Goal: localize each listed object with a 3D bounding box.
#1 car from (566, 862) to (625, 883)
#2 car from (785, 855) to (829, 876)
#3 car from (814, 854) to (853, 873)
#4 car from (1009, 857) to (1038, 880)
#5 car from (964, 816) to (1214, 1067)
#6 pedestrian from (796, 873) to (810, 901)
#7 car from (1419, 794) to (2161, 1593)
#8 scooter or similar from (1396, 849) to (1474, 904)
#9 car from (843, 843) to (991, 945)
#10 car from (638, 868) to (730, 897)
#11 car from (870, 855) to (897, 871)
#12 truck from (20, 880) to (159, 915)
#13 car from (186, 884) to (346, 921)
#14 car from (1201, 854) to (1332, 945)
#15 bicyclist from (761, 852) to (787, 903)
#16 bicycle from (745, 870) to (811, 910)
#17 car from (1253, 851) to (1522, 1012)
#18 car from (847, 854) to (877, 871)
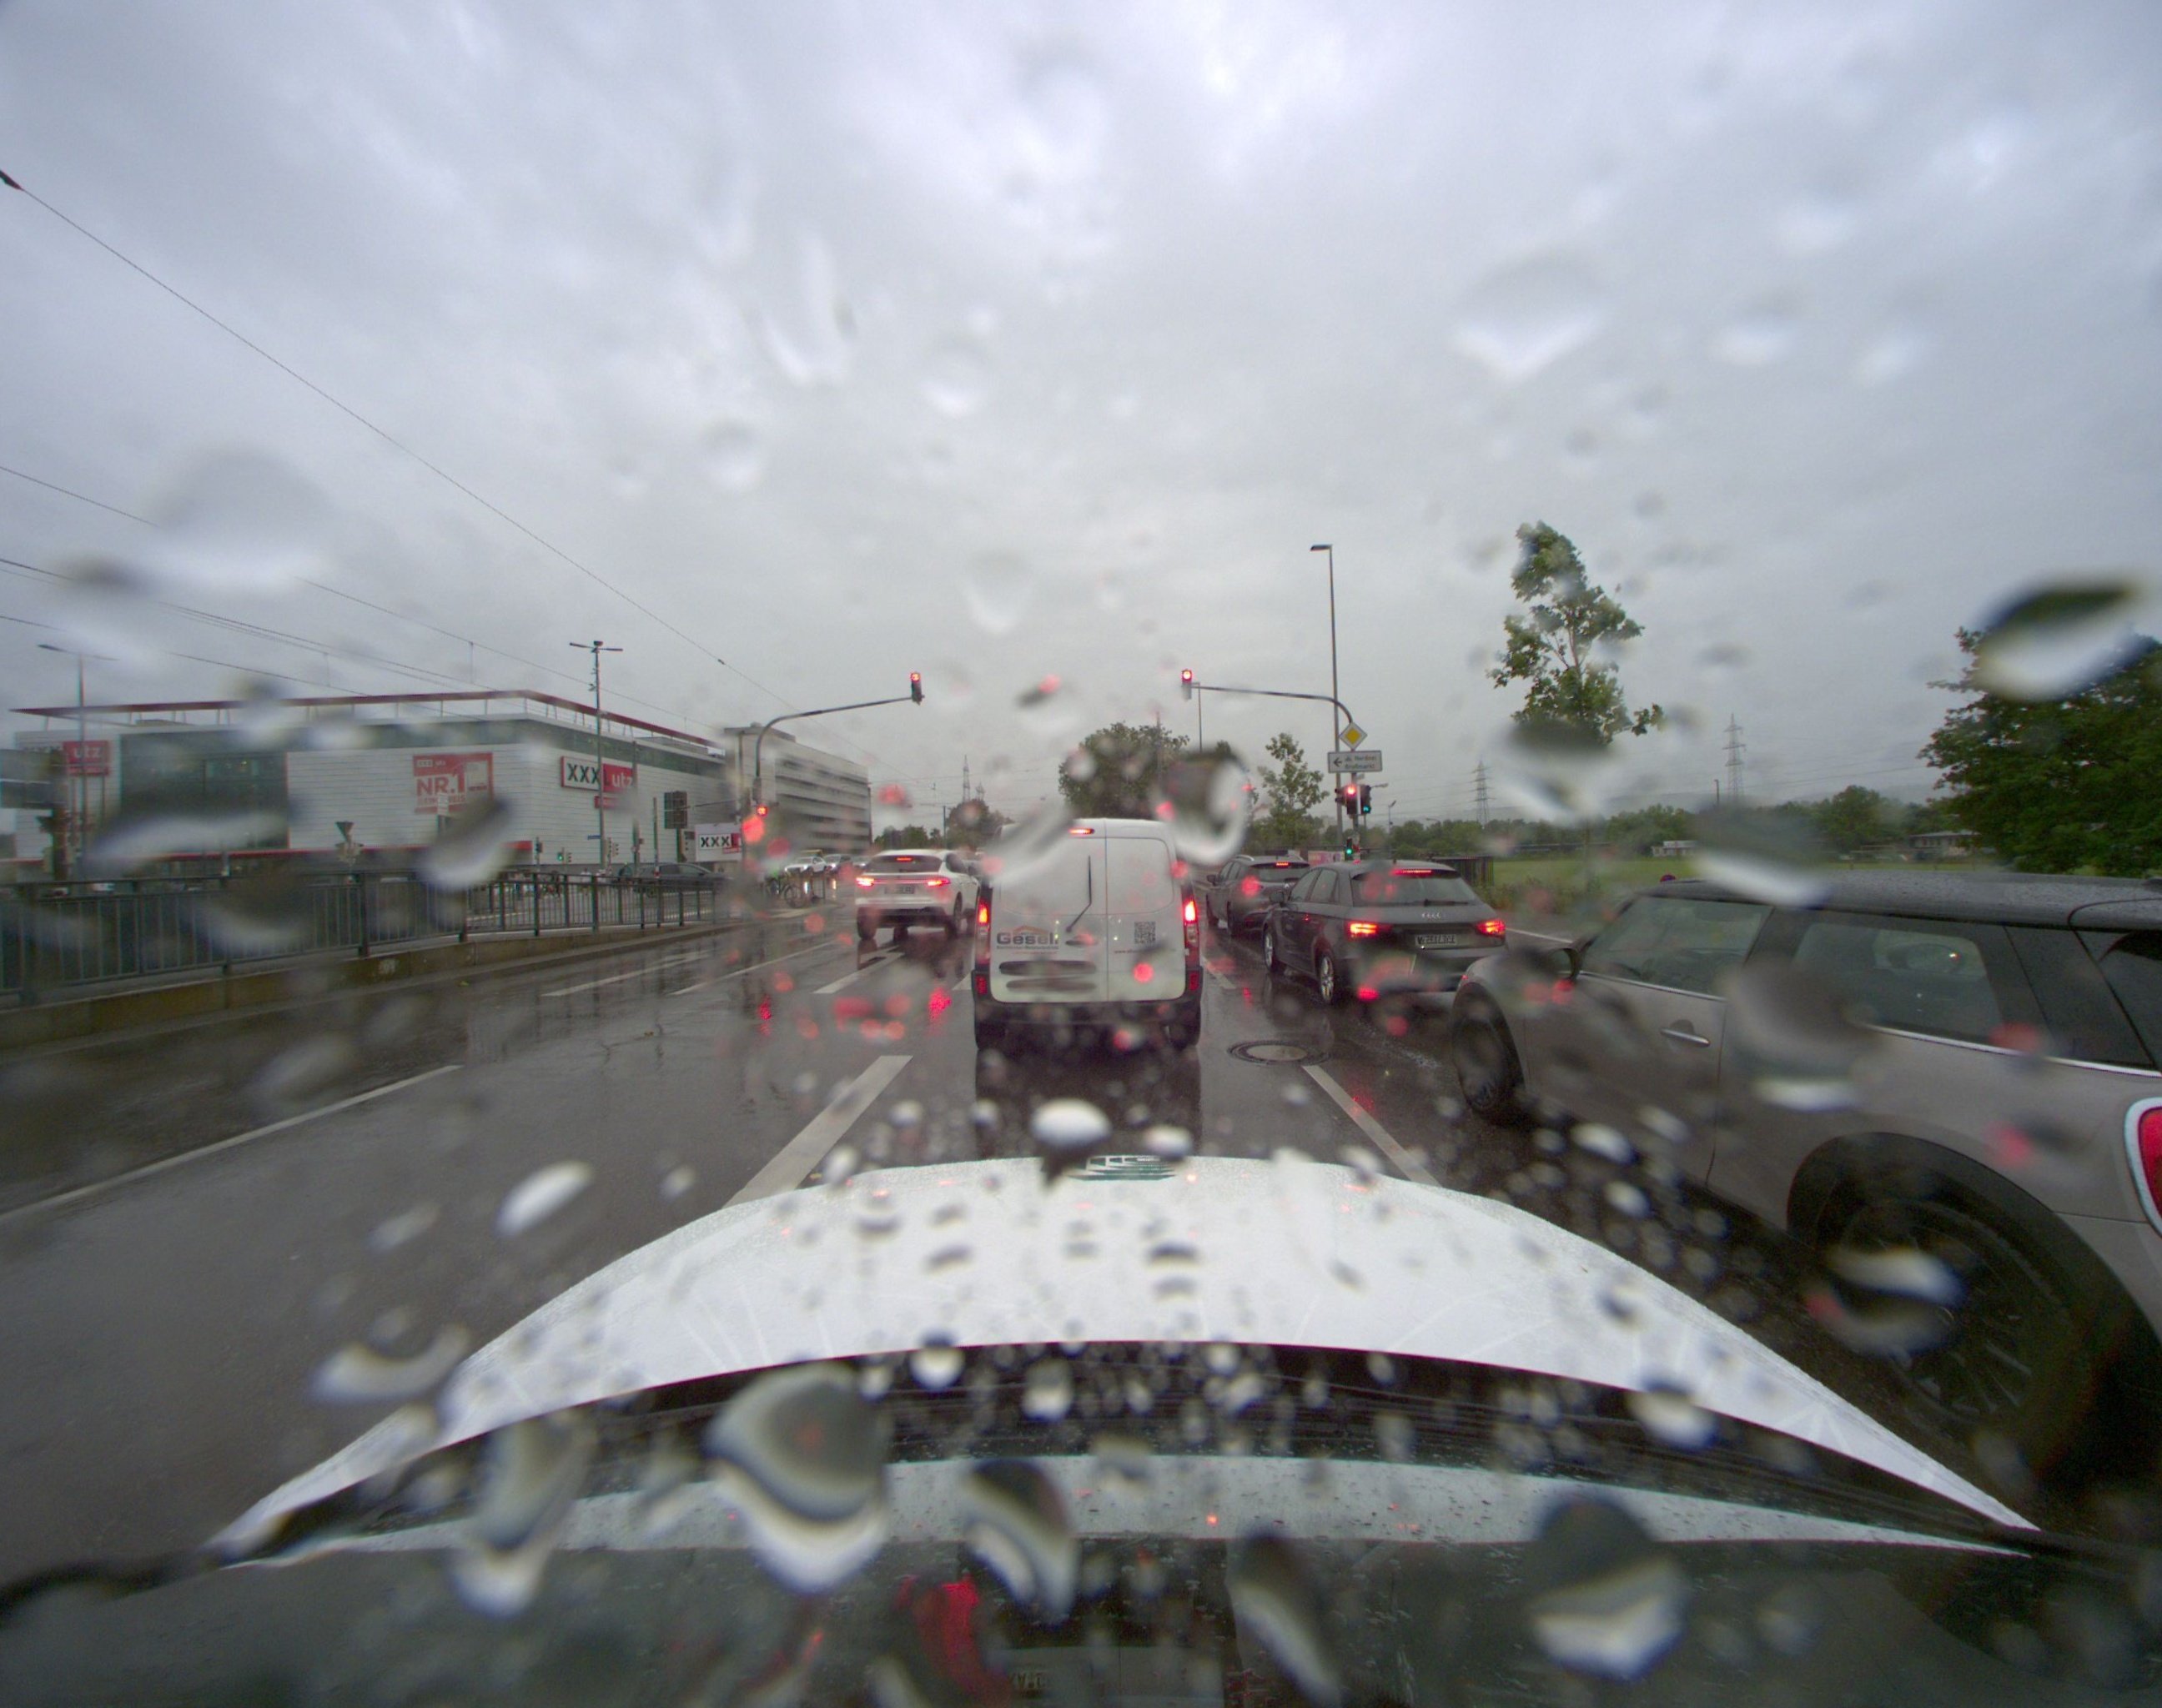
[{"bbox_3d":[-32.241,1.205,54.213,1.473,1.354,3.810,1,-1,2],"label":"car"},{"bbox_3d":[-19.431,0.813,57.819,1.704,1.426,3.810,1,-1,2],"label":"car"},{"bbox_3d":[-19.335,0.775,63.728,1.704,1.426,3.810,1,-1,2],"label":"car"},{"bbox_3d":[-4.173,1.047,59.679,1.628,1.522,3.777,2,0,2],"label":"car"},{"bbox_3d":[0.009,0.589,7.841,1.749,1.750,4.166,-1,1,-2],"label":"car"},{"bbox_3d":[-8.828,1.047,25.882,0.314,0.897,0.380,1,0,-1],"label":"pedestrian"},{"bbox_3d":[2.959,0.696,3.259,1.696,1.508,3.880,1,-1,2],"label":"car"},{"bbox_3d":[8.522,0.500,19.773,0.687,1.211,3.022,-2,0,3],"label":"scooter or similar"},{"bbox_3d":[-3.138,0.709,16.625,1.923,1.775,4.665,0,0,2],"label":"car"},{"bbox_3d":[-17.467,1.252,35.963,3.540,1.207,1.429,1,-1,-24],"label":"car"},{"bbox_3d":[-18.875,0.875,78.042,1.554,1.426,3.570,1,-1,2],"label":"car"},{"bbox_3d":[-60.223,2.622,49.553,5.859,1.942,2.012,1,-1,0],"label":"truck"},{"bbox_3d":[-31.690,1.871,31.813,4.063,1.376,1.596,1,-1,-20],"label":"car"},{"bbox_3d":[3.382,0.760,15.525,1.678,1.508,3.921,0,0,1],"label":"car"},{"bbox_3d":[-9.040,0.677,23.994,0.604,1.491,0.597,0,-1,-12],"label":"bicyclist"},{"bbox_3d":[-8.918,1.047,23.989,1.755,1.137,0.517,0,-1,-14],"label":"bicycle"},{"bbox_3d":[3.091,0.721,9.008,1.592,1.366,3.630,-2,-1,0],"label":"car"},{"bbox_3d":[-19.049,0.782,70.961,1.554,1.426,3.570,1,-1,2],"label":"car"}]
